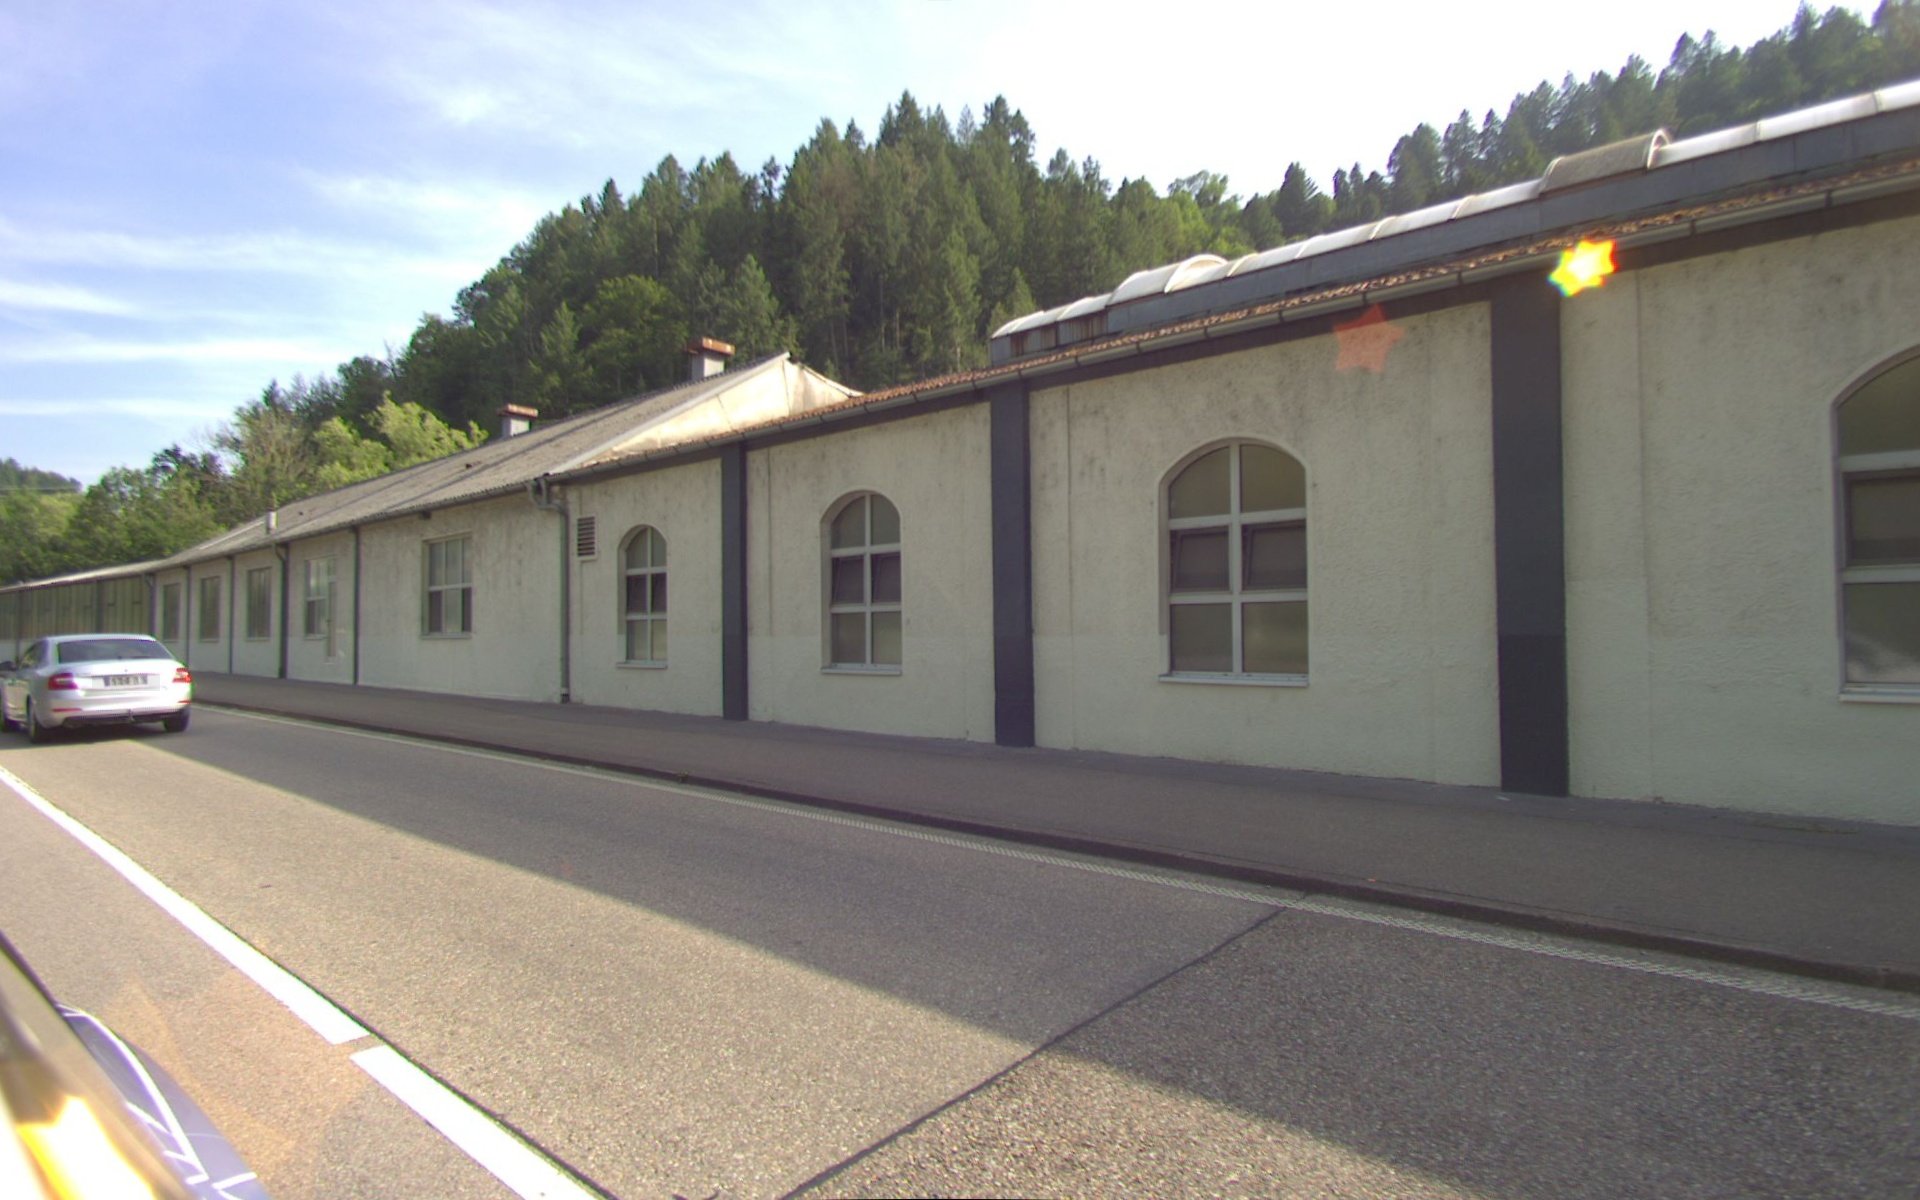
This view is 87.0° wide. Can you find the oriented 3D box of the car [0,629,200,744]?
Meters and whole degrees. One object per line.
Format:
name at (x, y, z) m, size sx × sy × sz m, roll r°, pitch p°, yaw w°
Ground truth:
car at (-12.700, 1.160, 14.767) m, size 4.106 × 1.403 × 1.722 m, roll -2°, pitch -1°, yaw 40°
